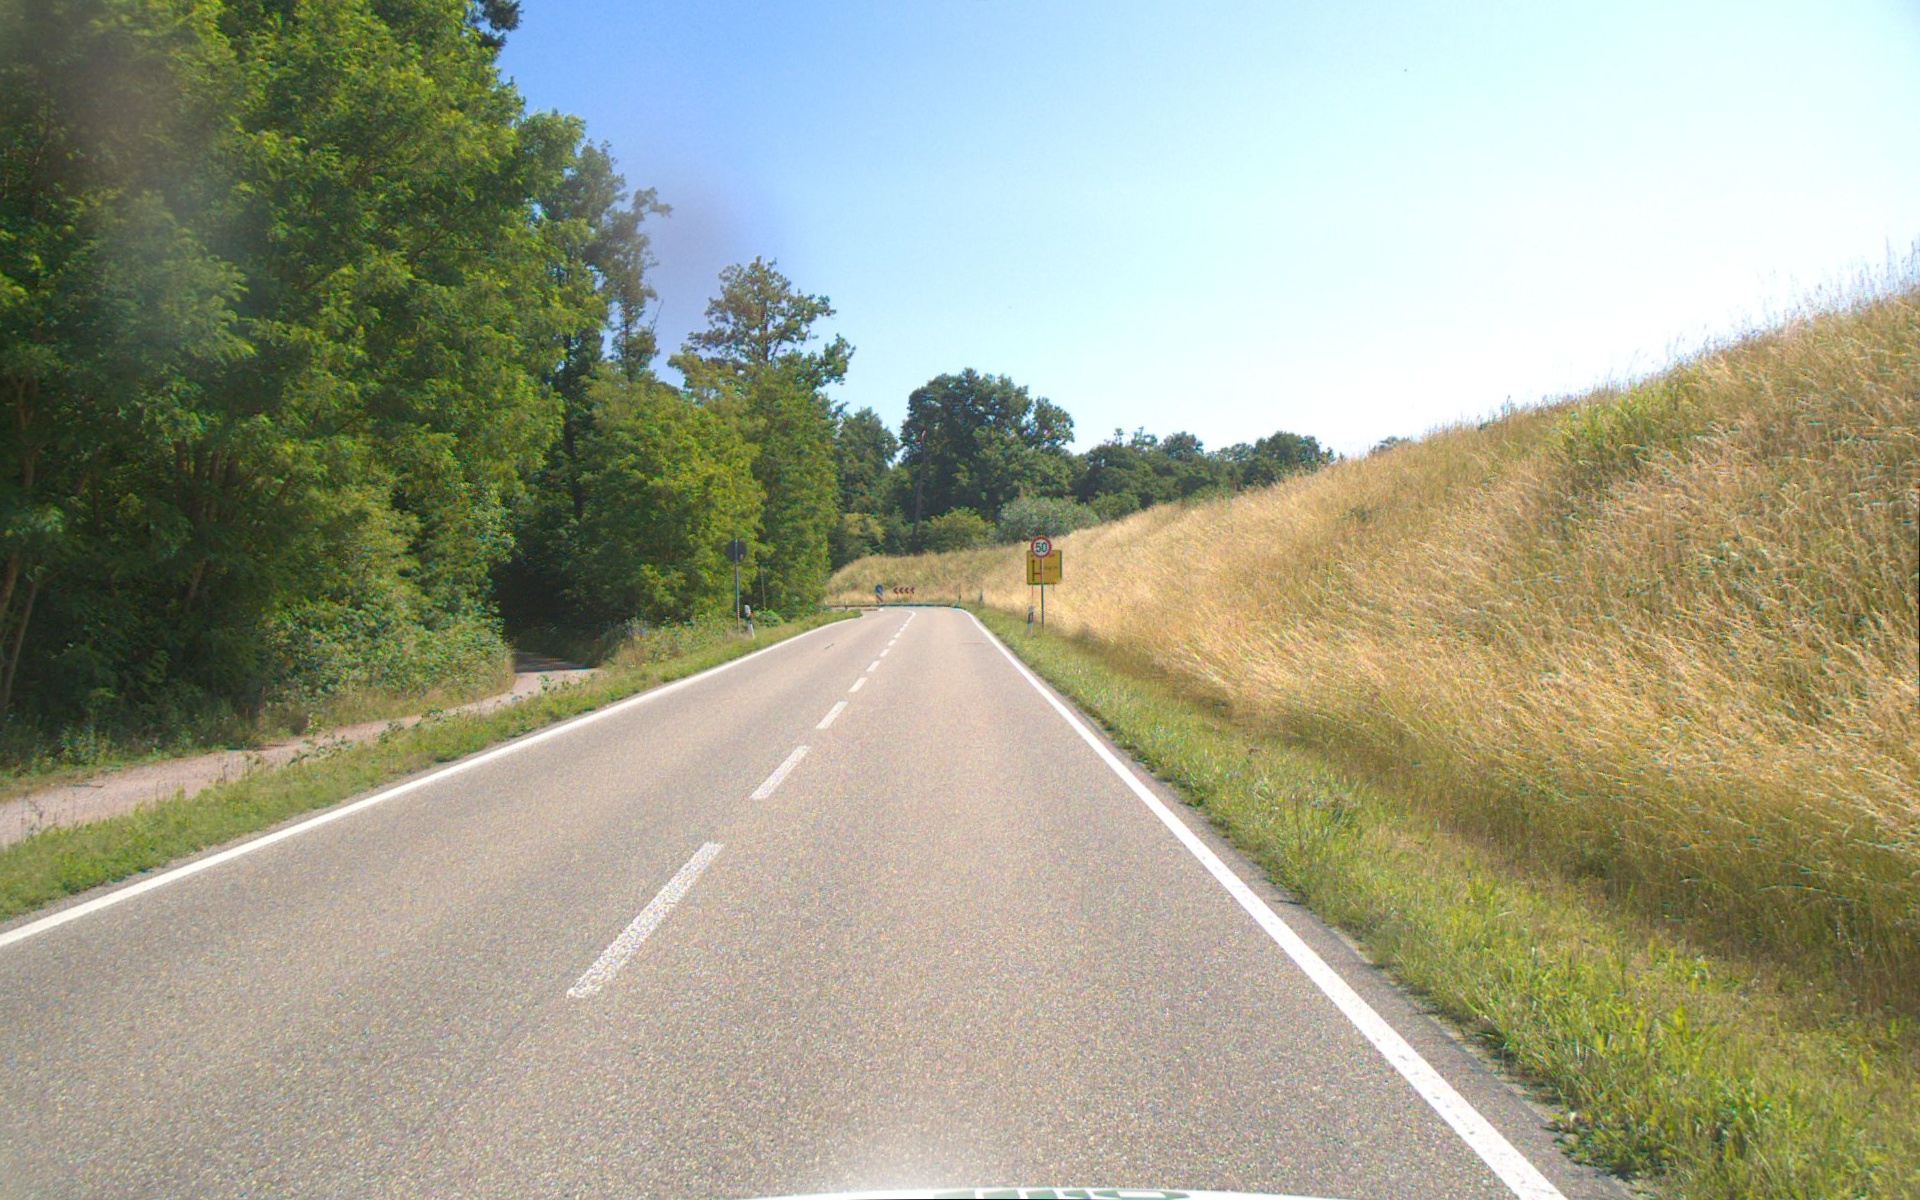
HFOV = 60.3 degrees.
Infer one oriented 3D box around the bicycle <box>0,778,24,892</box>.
[{"bbox_3d":[-7.344,1.757,11.336,0.627,0.802,2.136,-3,0,-1],"label":"bicycle"}]
